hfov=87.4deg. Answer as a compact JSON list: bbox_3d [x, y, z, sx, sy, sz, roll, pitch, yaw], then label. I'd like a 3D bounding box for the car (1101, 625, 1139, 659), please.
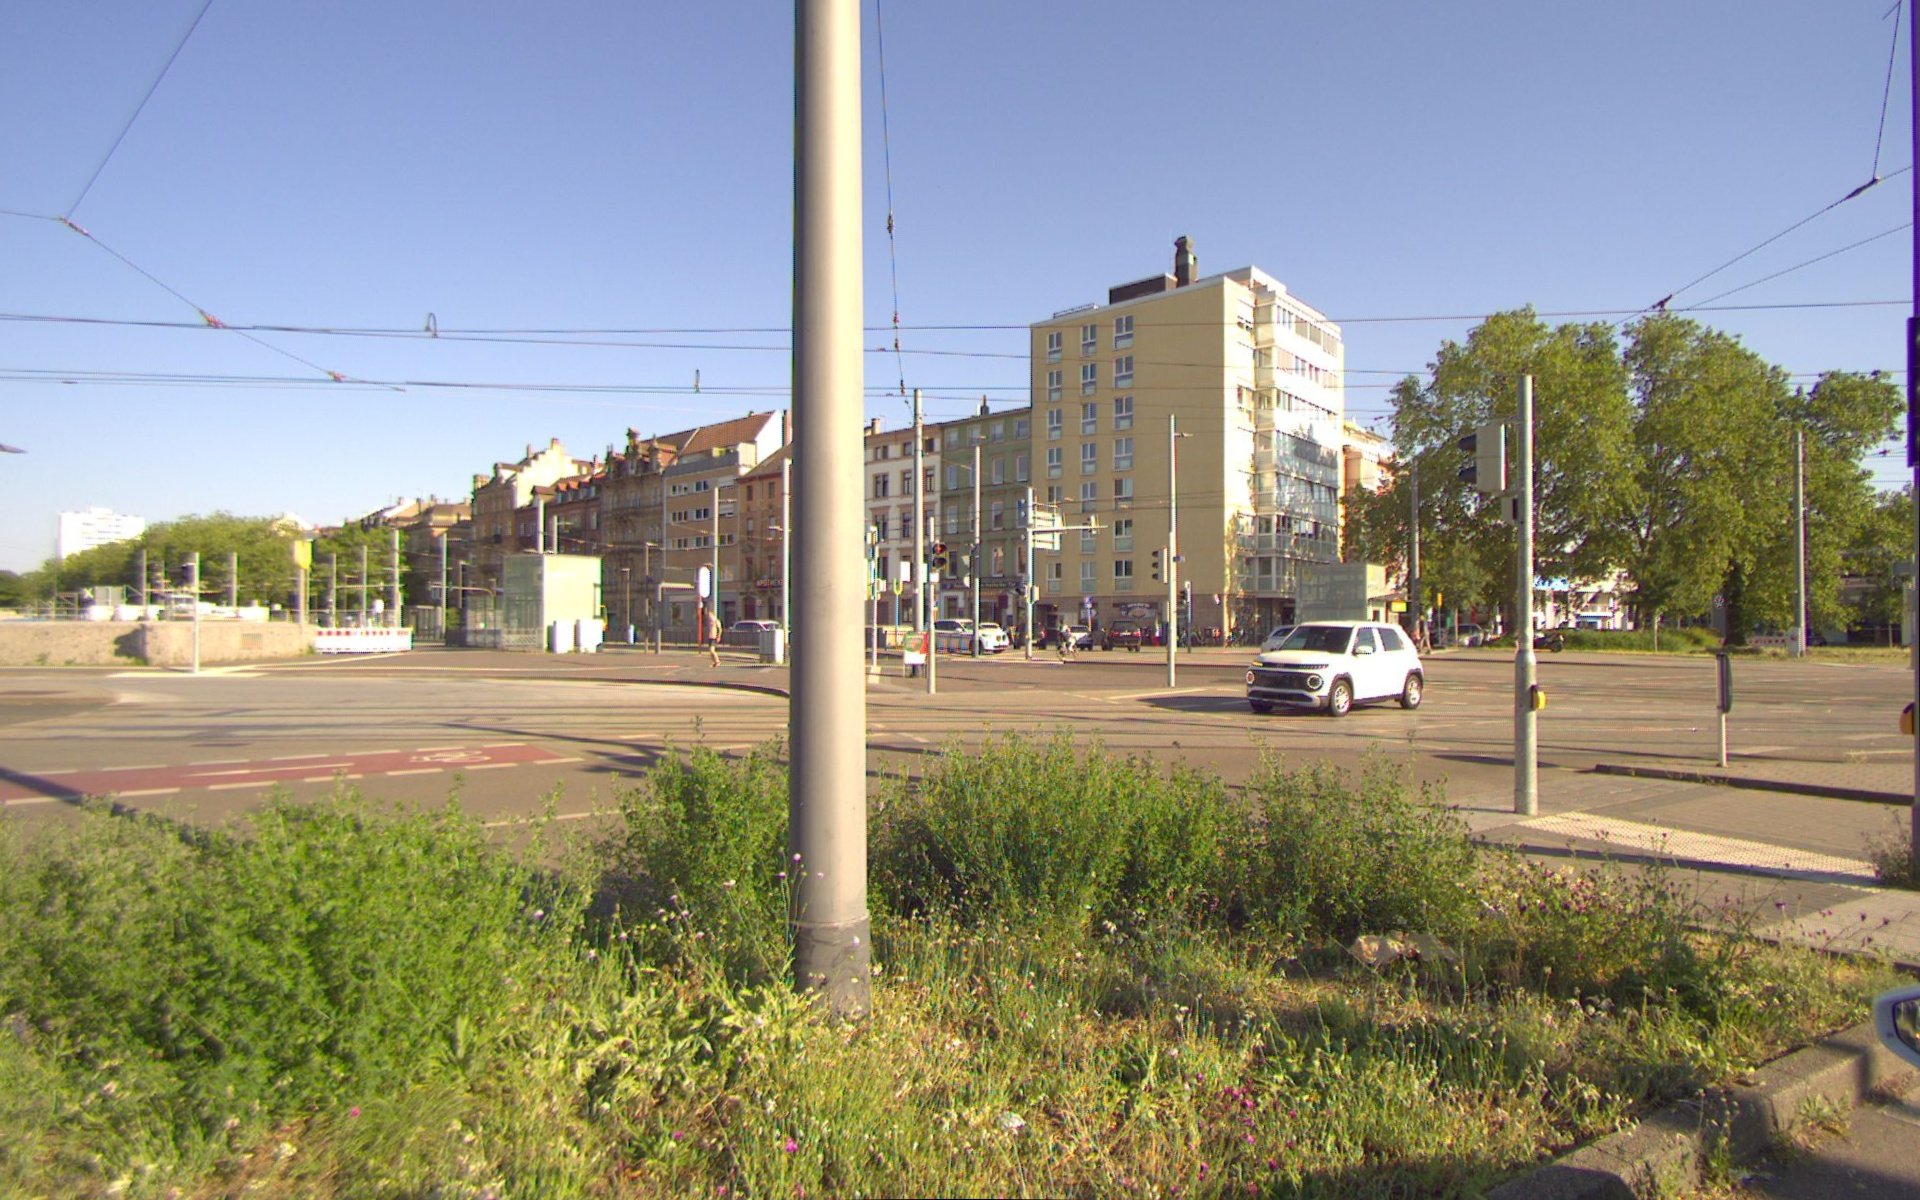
[{"bbox_3d":[9.120,2.386,57.510,1.684,1.728,4.001,2,0,4],"label":"car"}]

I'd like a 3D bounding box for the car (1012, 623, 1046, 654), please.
[{"bbox_3d":[4.233,2.314,61.418,1.960,1.728,4.001,2,0,4],"label":"car"}]

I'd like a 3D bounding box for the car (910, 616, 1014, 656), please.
[{"bbox_3d":[0.039,1.720,48.203,4.836,1.848,1.991,-1,-3,40],"label":"car"}]

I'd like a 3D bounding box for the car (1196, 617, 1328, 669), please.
[{"bbox_3d":[11.217,1.560,37.612,1.768,1.684,4.674,2,0,-34],"label":"car"}]

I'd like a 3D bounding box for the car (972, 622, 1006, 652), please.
[{"bbox_3d":[1.867,2.302,63.906,1.960,1.728,4.001,2,0,4],"label":"car"}]

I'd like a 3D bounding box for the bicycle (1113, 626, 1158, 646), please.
[{"bbox_3d":[11.528,2.354,66.115,3.003,1.167,0.637,1,0,44],"label":"bicycle"}]

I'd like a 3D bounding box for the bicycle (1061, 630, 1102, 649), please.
[{"bbox_3d":[8.342,2.703,68.974,3.003,1.167,0.637,1,0,44],"label":"bicycle"}]

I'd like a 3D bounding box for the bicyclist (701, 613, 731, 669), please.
[{"bbox_3d":[-7.698,1.292,31.731,0.653,1.706,0.980,2,0,2],"label":"bicyclist"}]

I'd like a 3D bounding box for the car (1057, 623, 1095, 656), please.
[{"bbox_3d":[6.791,2.306,59.247,1.960,1.728,4.001,2,0,4],"label":"car"}]

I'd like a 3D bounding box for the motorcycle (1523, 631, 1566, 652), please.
[{"bbox_3d":[29.150,2.060,50.111,1.753,0.926,0.676,2,0,41],"label":"motorcycle"}]

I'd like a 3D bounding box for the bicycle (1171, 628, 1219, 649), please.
[{"bbox_3d":[14.879,2.446,63.719,3.003,1.167,0.637,1,0,44],"label":"bicycle"}]

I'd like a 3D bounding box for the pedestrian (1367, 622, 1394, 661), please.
[{"bbox_3d":[19.033,1.872,45.449,0.747,1.728,0.793,2,0,-22],"label":"pedestrian"}]

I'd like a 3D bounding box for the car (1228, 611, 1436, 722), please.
[{"bbox_3d":[6.611,1.093,17.672,3.970,1.684,1.764,2,0,-42],"label":"car"}]

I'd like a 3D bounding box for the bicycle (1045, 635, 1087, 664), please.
[{"bbox_3d":[4.314,1.981,40.636,0.617,1.104,1.914,2,0,44],"label":"bicycle"}]

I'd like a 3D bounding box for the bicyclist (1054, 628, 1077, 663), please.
[{"bbox_3d":[4.283,1.828,40.594,0.617,1.368,0.658,2,0,44],"label":"bicyclist"}]

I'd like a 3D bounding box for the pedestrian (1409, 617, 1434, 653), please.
[{"bbox_3d":[22.999,1.737,50.048,0.747,1.728,0.793,2,0,-22],"label":"pedestrian"}]

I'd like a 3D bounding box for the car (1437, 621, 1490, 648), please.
[{"bbox_3d":[32.013,2.207,63.812,3.973,1.588,1.753,2,0,-44],"label":"car"}]

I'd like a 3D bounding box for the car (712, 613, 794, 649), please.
[{"bbox_3d":[-11.824,1.723,57.200,4.837,1.849,1.990,2,0,41],"label":"car"}]

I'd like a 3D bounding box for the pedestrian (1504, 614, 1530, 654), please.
[{"bbox_3d":[27.659,1.690,49.895,0.747,1.911,0.793,2,0,-22],"label":"pedestrian"}]

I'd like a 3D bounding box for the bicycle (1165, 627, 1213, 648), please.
[{"bbox_3d":[14.402,2.342,63.242,3.003,1.167,0.637,1,0,44],"label":"bicycle"}]
